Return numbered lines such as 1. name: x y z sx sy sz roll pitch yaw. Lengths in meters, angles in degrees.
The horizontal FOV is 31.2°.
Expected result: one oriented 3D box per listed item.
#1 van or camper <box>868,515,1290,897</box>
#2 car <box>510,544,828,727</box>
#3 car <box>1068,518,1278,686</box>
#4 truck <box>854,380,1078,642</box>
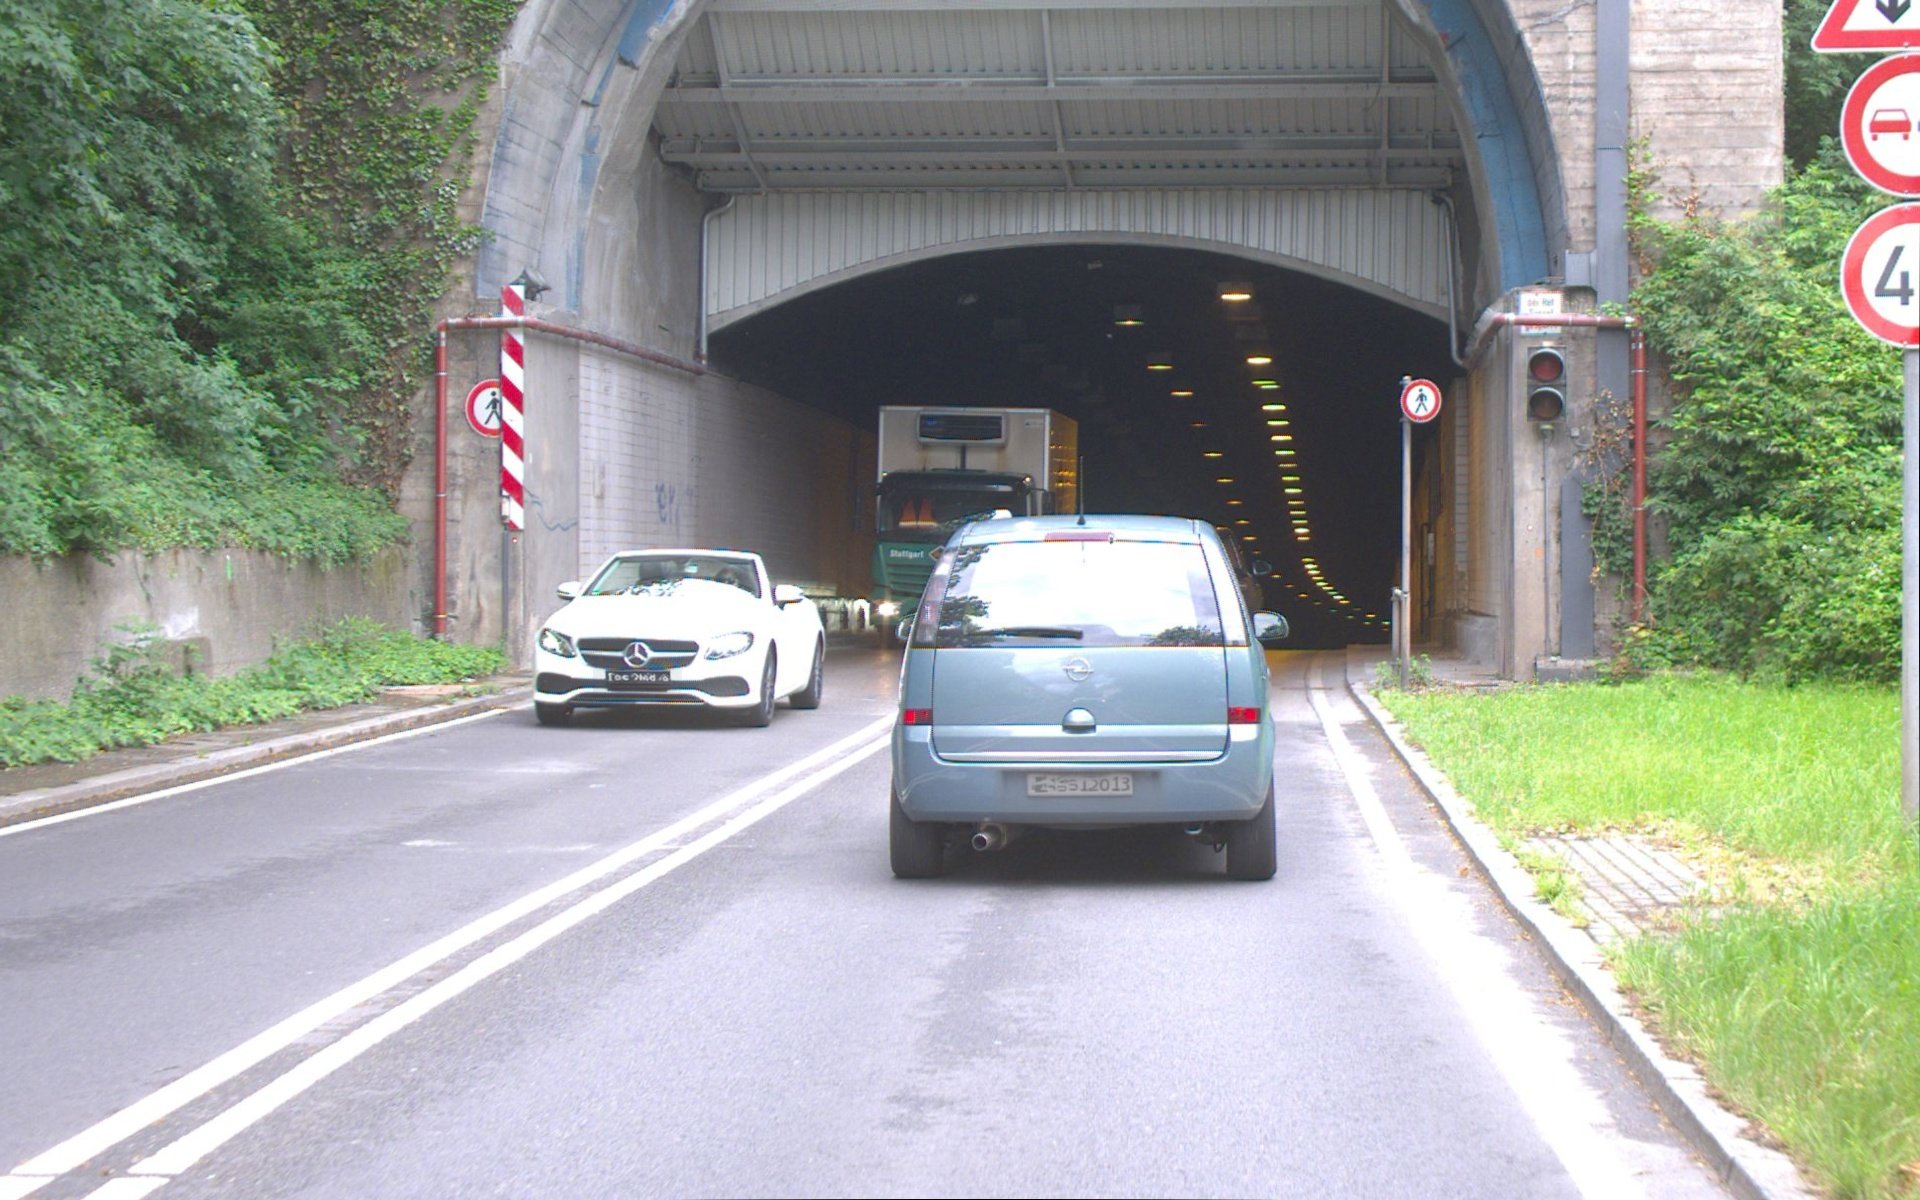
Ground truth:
1. van or camper: 0.638 0.414 16.070 1.735 1.572 3.645 -1 1 5
2. car: -2.291 0.233 28.222 1.868 1.366 4.455 0 1 5
3. car: 2.383 -0.022 37.588 1.994 1.647 3.999 -1 2 8
4. truck: 0.211 -1.297 52.140 2.676 3.654 7.516 1 1 5
